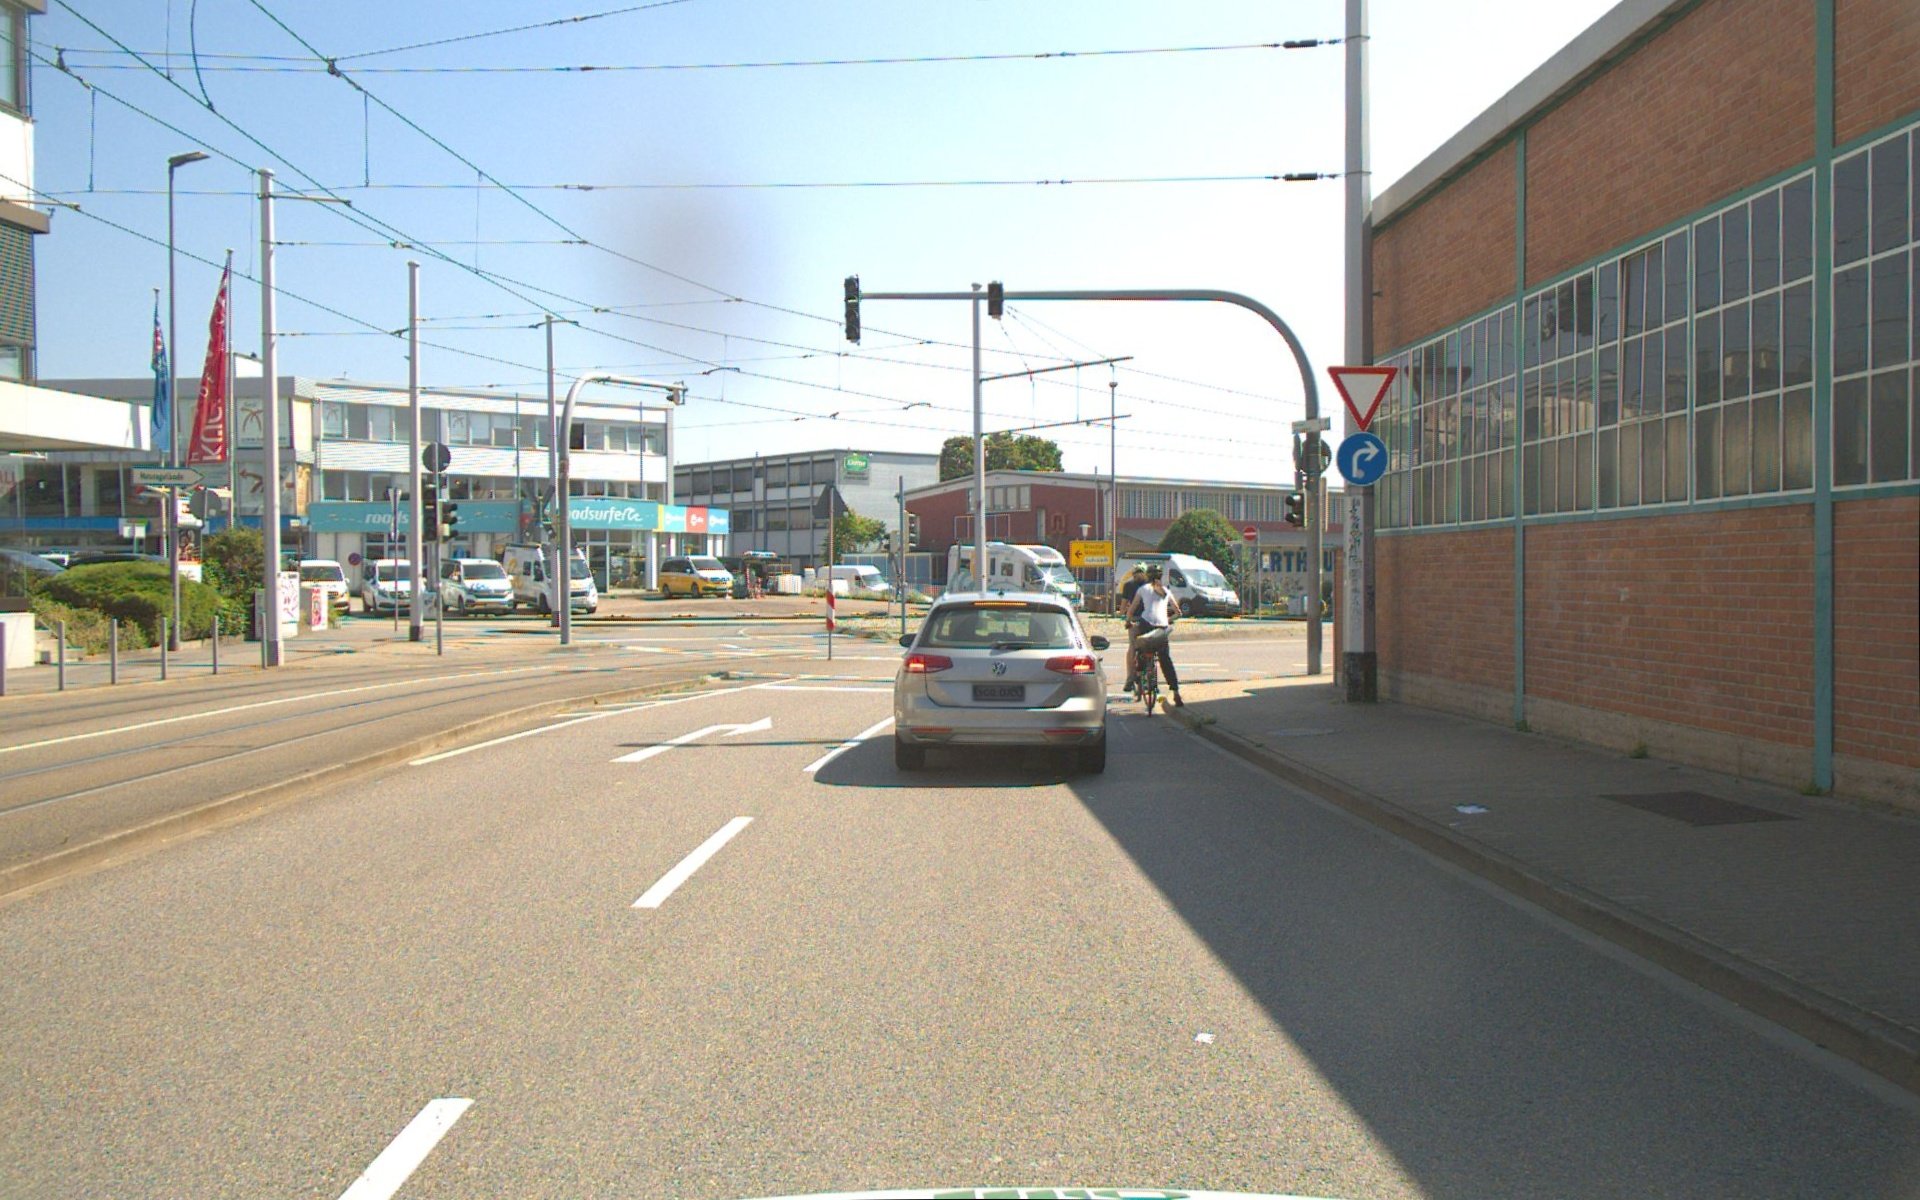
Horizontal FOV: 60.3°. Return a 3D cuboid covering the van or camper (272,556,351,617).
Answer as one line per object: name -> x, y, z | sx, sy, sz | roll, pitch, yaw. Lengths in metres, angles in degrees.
van or camper -> -24.268, -0.551, 61.825 | 1.974, 2.048, 4.713 | -1, 3, -31

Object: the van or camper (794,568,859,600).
van or camper -> -8.422, -0.981, 104.323 | 3.930, 1.982, 1.988 | 0, 1, 43

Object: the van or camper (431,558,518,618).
van or camper -> -18.403, -0.488, 62.589 | 1.974, 2.048, 4.958 | -1, 3, -31

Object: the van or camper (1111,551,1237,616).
van or camper -> 9.132, -0.763, 71.093 | 2.266, 2.482, 5.316 | -2, 5, -37

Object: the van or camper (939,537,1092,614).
van or camper -> 2.275, -1.114, 69.969 | 2.336, 2.981, 6.876 | -2, 4, -43

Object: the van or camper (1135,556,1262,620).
van or camper -> 10.777, -0.609, 75.076 | 2.266, 2.656, 5.815 | -2, 3, -37

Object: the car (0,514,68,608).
car -> -18.168, -0.681, 29.056 | 3.904, 1.590, 2.000 | 0, 0, 1

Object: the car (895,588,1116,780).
car -> 0.402, 0.639, 14.875 | 1.710, 1.484, 4.001 | 0, 0, 1

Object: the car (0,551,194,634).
car -> -17.668, -0.173, 32.887 | 3.904, 1.545, 2.001 | 0, 3, 1

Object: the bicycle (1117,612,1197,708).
bicycle -> 2.334, 0.686, 19.798 | 0.778, 1.039, 2.151 | 0, 1, 2

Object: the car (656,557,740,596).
car -> -12.350, -1.094, 77.783 | 1.922, 1.790, 5.060 | -1, 1, -35

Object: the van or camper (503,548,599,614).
van or camper -> -15.873, -0.790, 63.999 | 2.011, 2.336, 5.752 | -1, 3, -31

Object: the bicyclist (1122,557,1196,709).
bicyclist -> 2.365, 0.378, 19.763 | 0.769, 1.752, 1.147 | 0, 0, 2

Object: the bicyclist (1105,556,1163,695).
bicyclist -> 2.353, 0.332, 22.496 | 0.693, 1.842, 0.983 | 0, 0, 1

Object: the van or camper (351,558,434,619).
van or camper -> -21.268, -0.464, 61.883 | 1.974, 2.048, 4.713 | -1, 3, -31
